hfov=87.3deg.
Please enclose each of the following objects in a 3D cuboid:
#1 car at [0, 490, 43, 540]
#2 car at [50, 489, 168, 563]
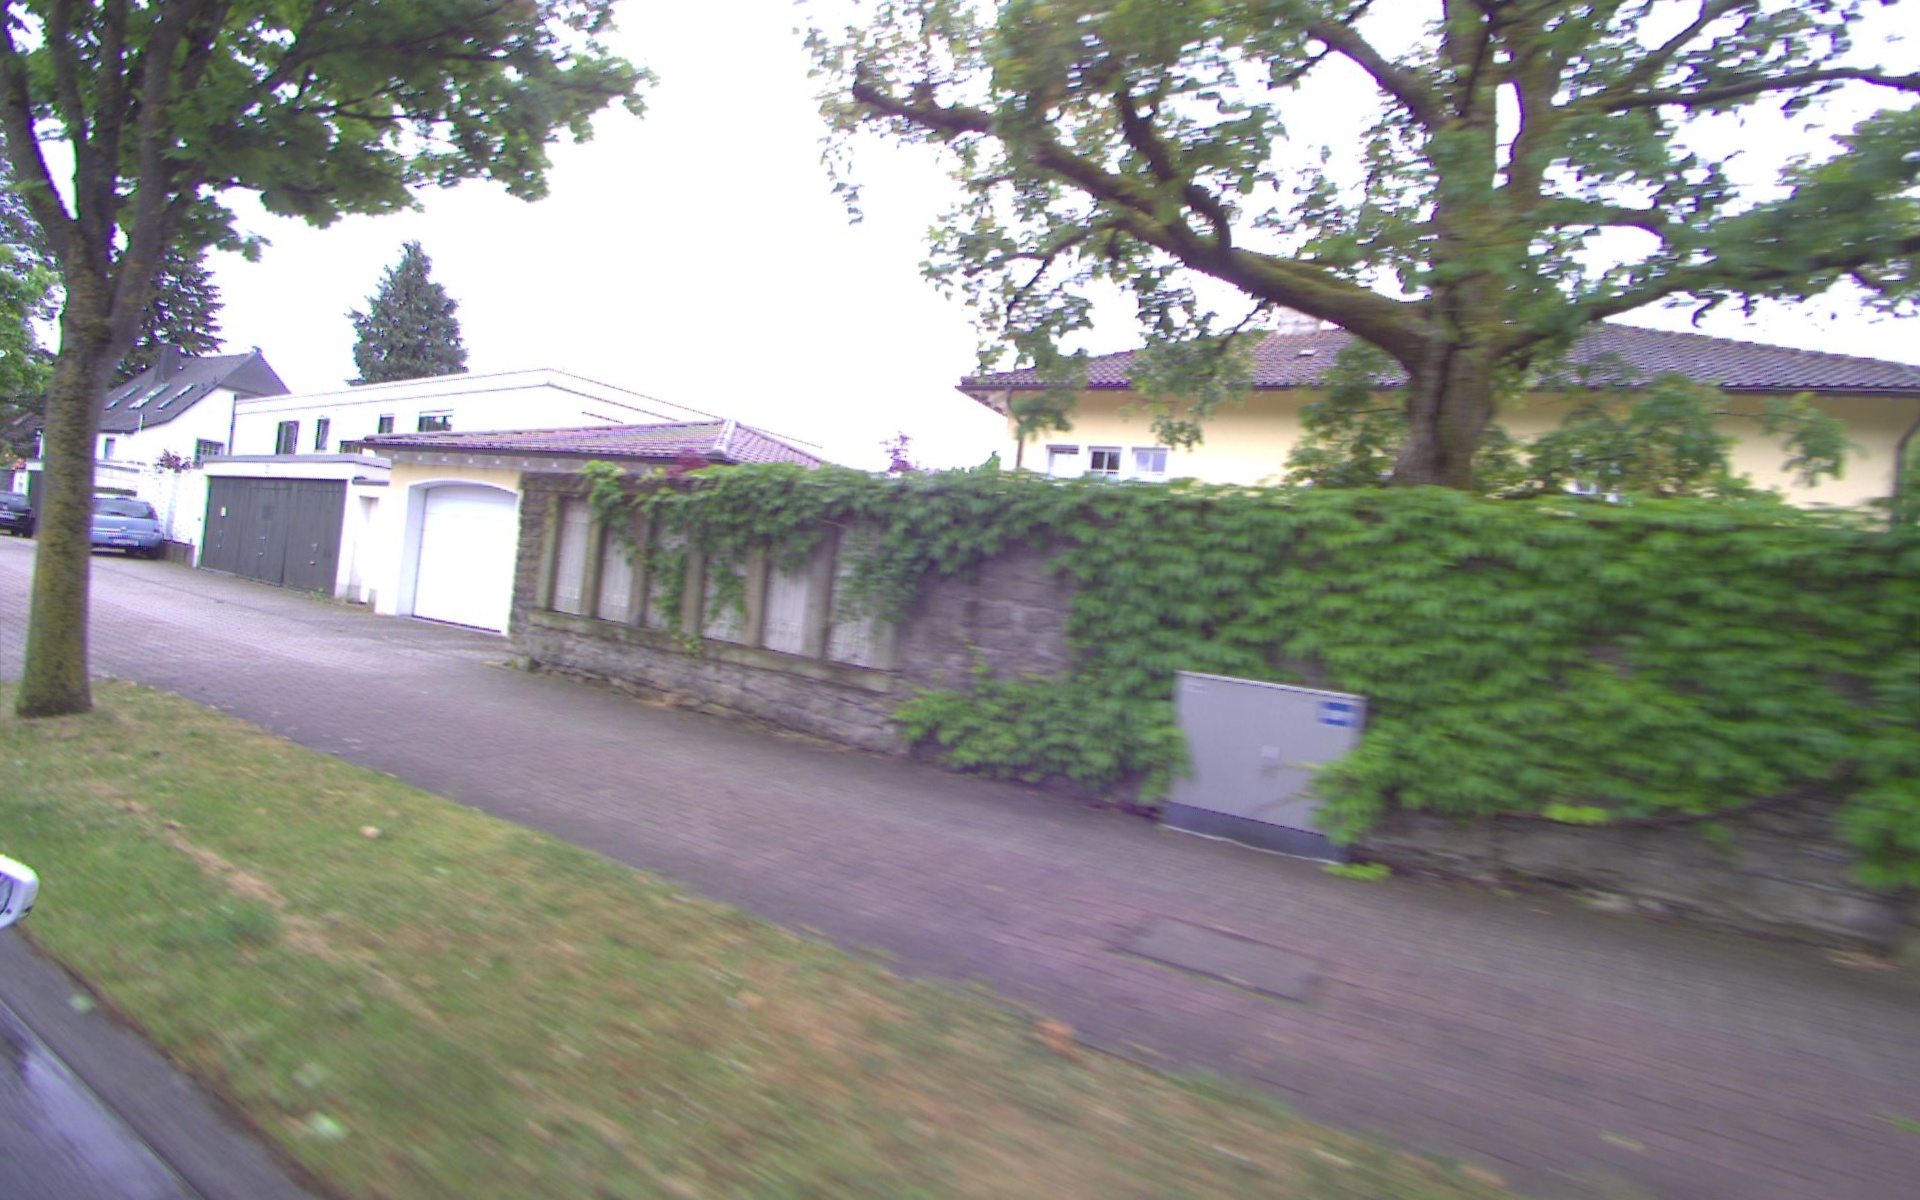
[{"bbox_3d":[-33.120,-3.019,34.540,4.479,1.516,1.769,6,0,40],"label":"car"},{"bbox_3d":[-23.116,-2.035,27.284,3.943,1.631,1.742,6,0,40],"label":"car"}]
